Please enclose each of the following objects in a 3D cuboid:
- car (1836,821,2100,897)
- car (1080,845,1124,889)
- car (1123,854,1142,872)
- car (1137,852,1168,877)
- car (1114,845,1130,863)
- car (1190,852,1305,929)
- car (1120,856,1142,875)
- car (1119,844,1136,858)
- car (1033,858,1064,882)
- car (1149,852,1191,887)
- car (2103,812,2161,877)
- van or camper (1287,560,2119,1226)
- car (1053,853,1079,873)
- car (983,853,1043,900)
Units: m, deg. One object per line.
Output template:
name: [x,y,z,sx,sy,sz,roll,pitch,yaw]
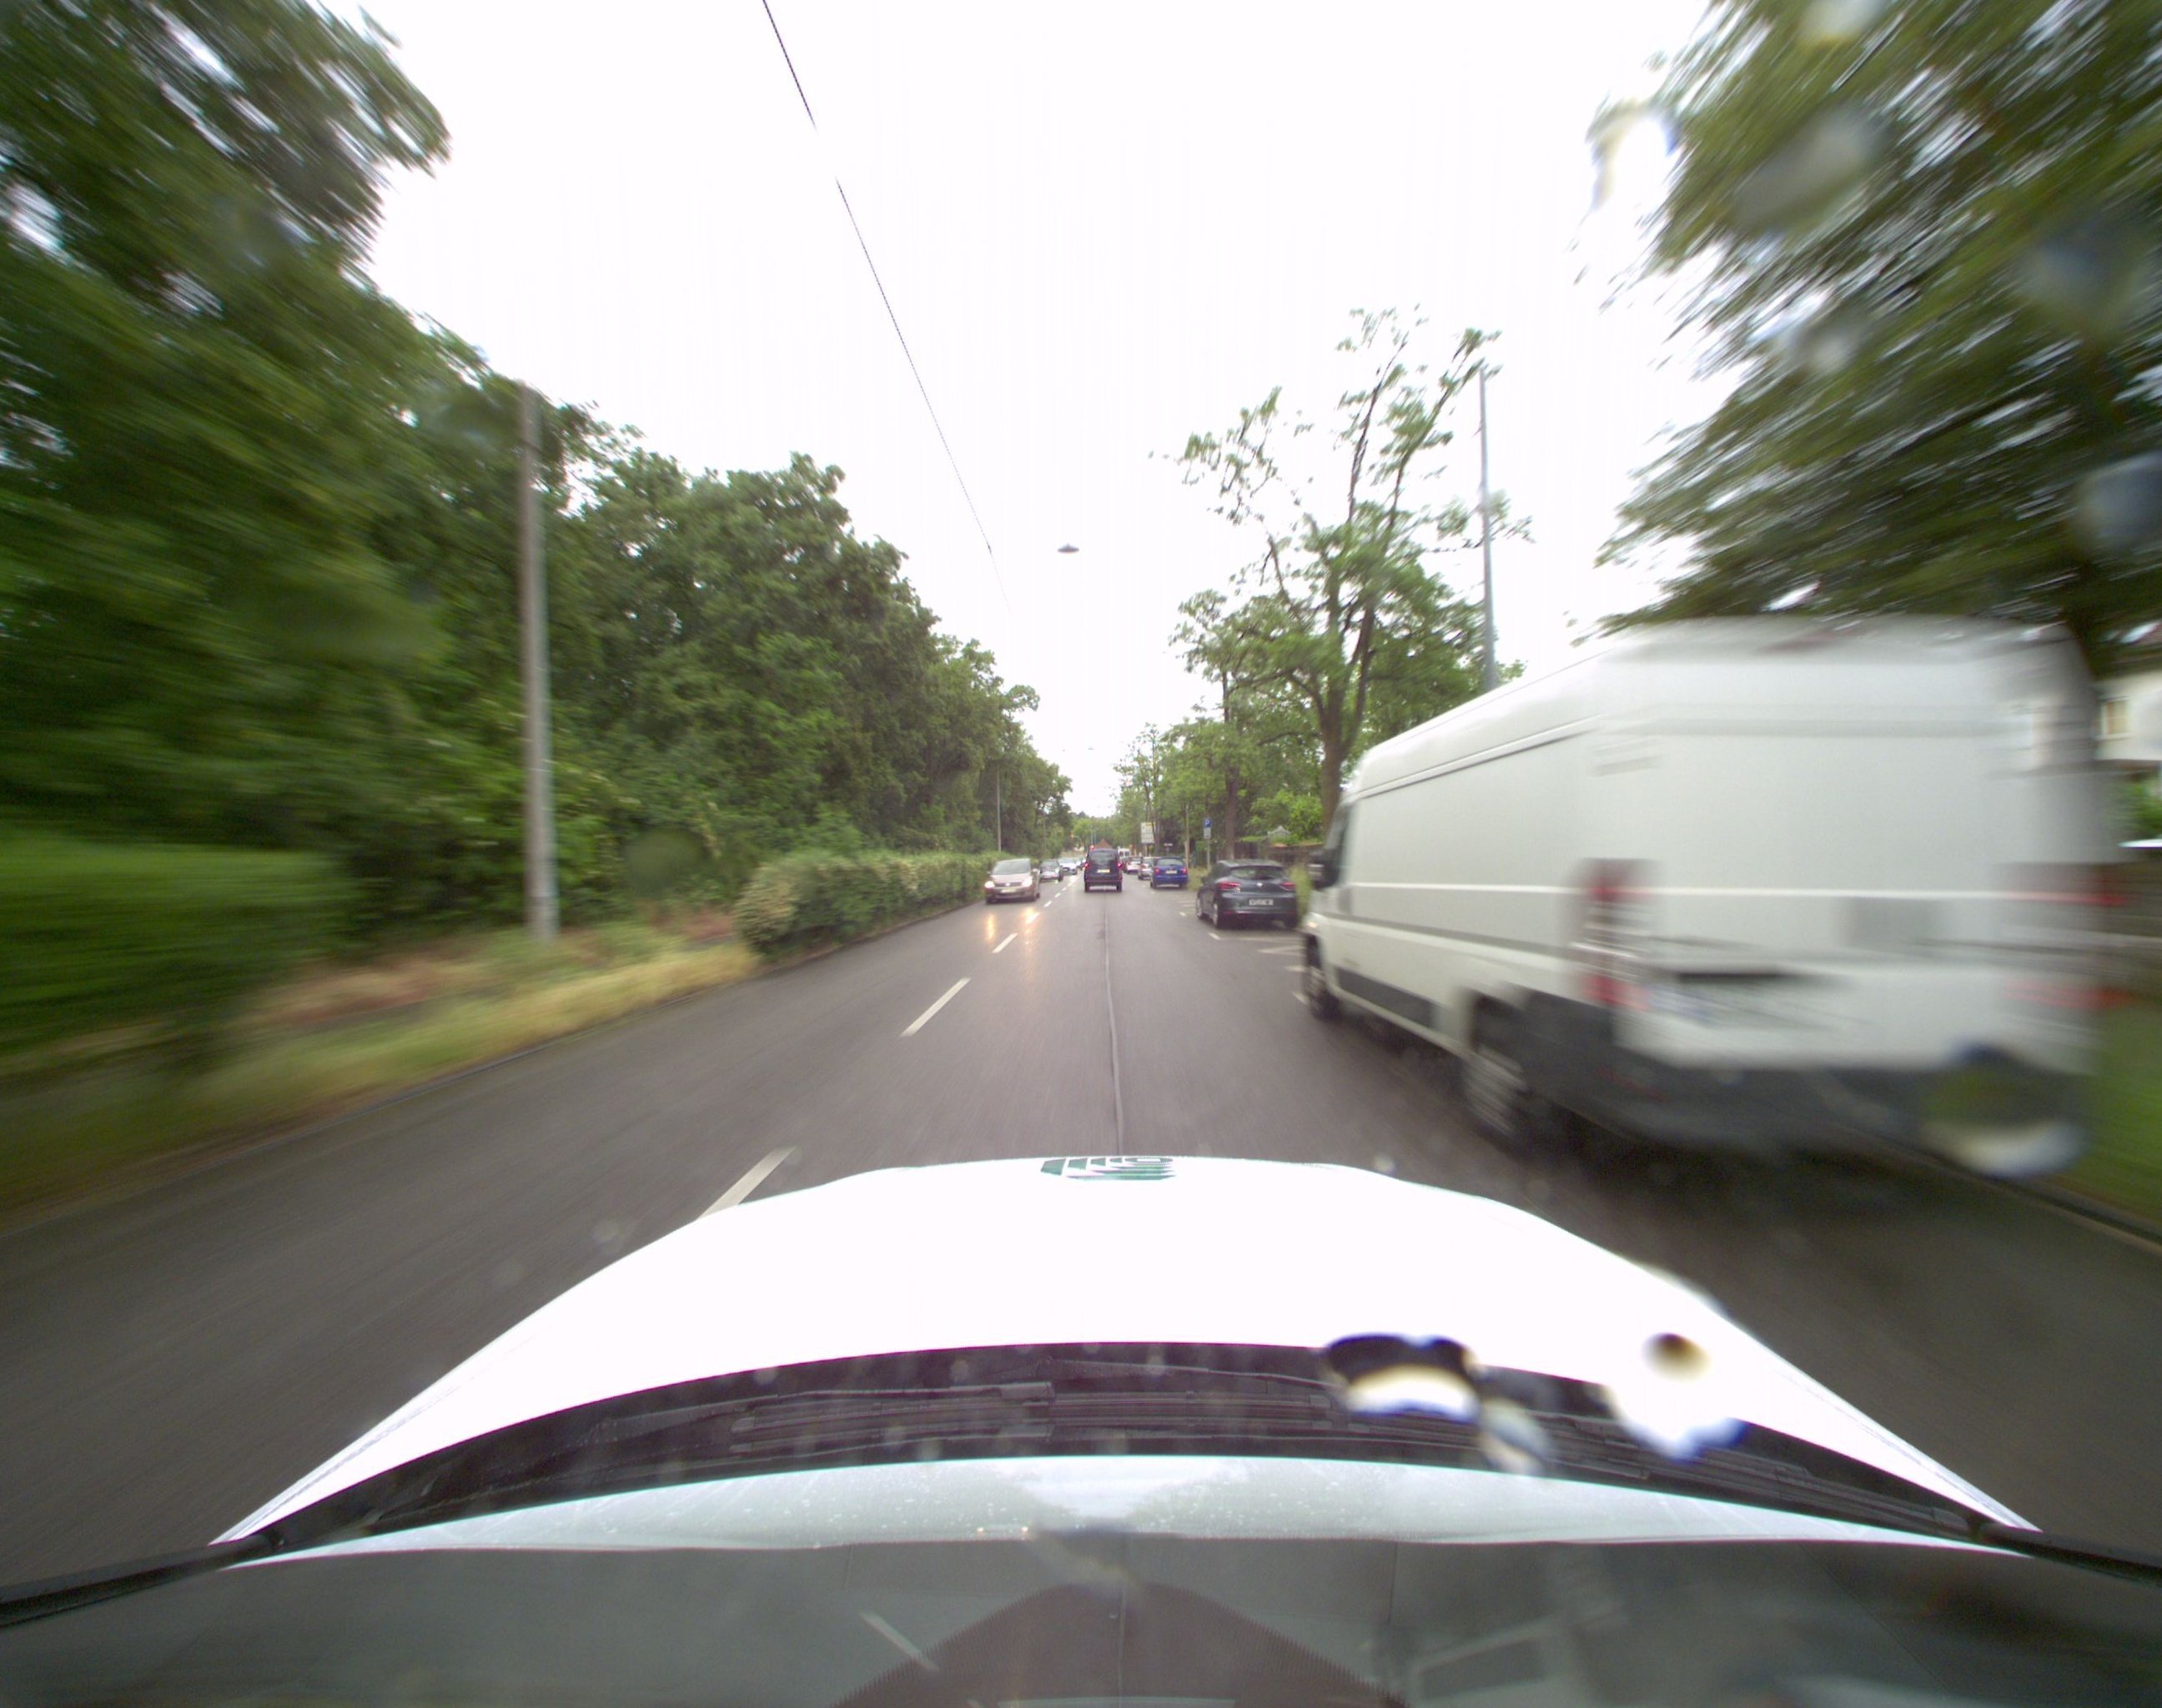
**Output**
car: [19.829,0.080,18.504,1.751,1.532,4.002,0,1,2]
car: [0.888,0.525,35.809,1.762,1.830,3.540,0,1,-2]
car: [4.745,0.796,74.428,1.690,1.524,3.872,0,1,4]
car: [4.529,0.662,52.014,1.613,1.508,3.834,0,1,0]
car: [5.818,0.071,115.917,2.197,2.449,4.731,-2,0,1]
car: [3.586,0.725,18.252,1.735,1.479,3.962,0,1,-1]
car: [4.178,0.937,68.369,1.627,1.510,2.957,0,1,0]
car: [5.198,-0.351,90.703,1.692,1.524,3.868,0,0,1]
car: [-2.080,0.985,52.992,1.680,1.356,3.725,-3,1,2]
car: [4.214,0.698,38.929,1.714,1.505,4.052,0,1,2]
car: [25.976,-0.212,18.101,1.749,1.532,4.008,0,1,6]
van or camper: [3.148,0.122,5.920,2.071,2.650,5.348,0,1,1]
car: [-1.264,0.779,70.617,1.849,1.468,4.449,-4,1,2]
car: [-2.423,0.766,29.902,1.723,1.492,4.001,-3,1,1]
